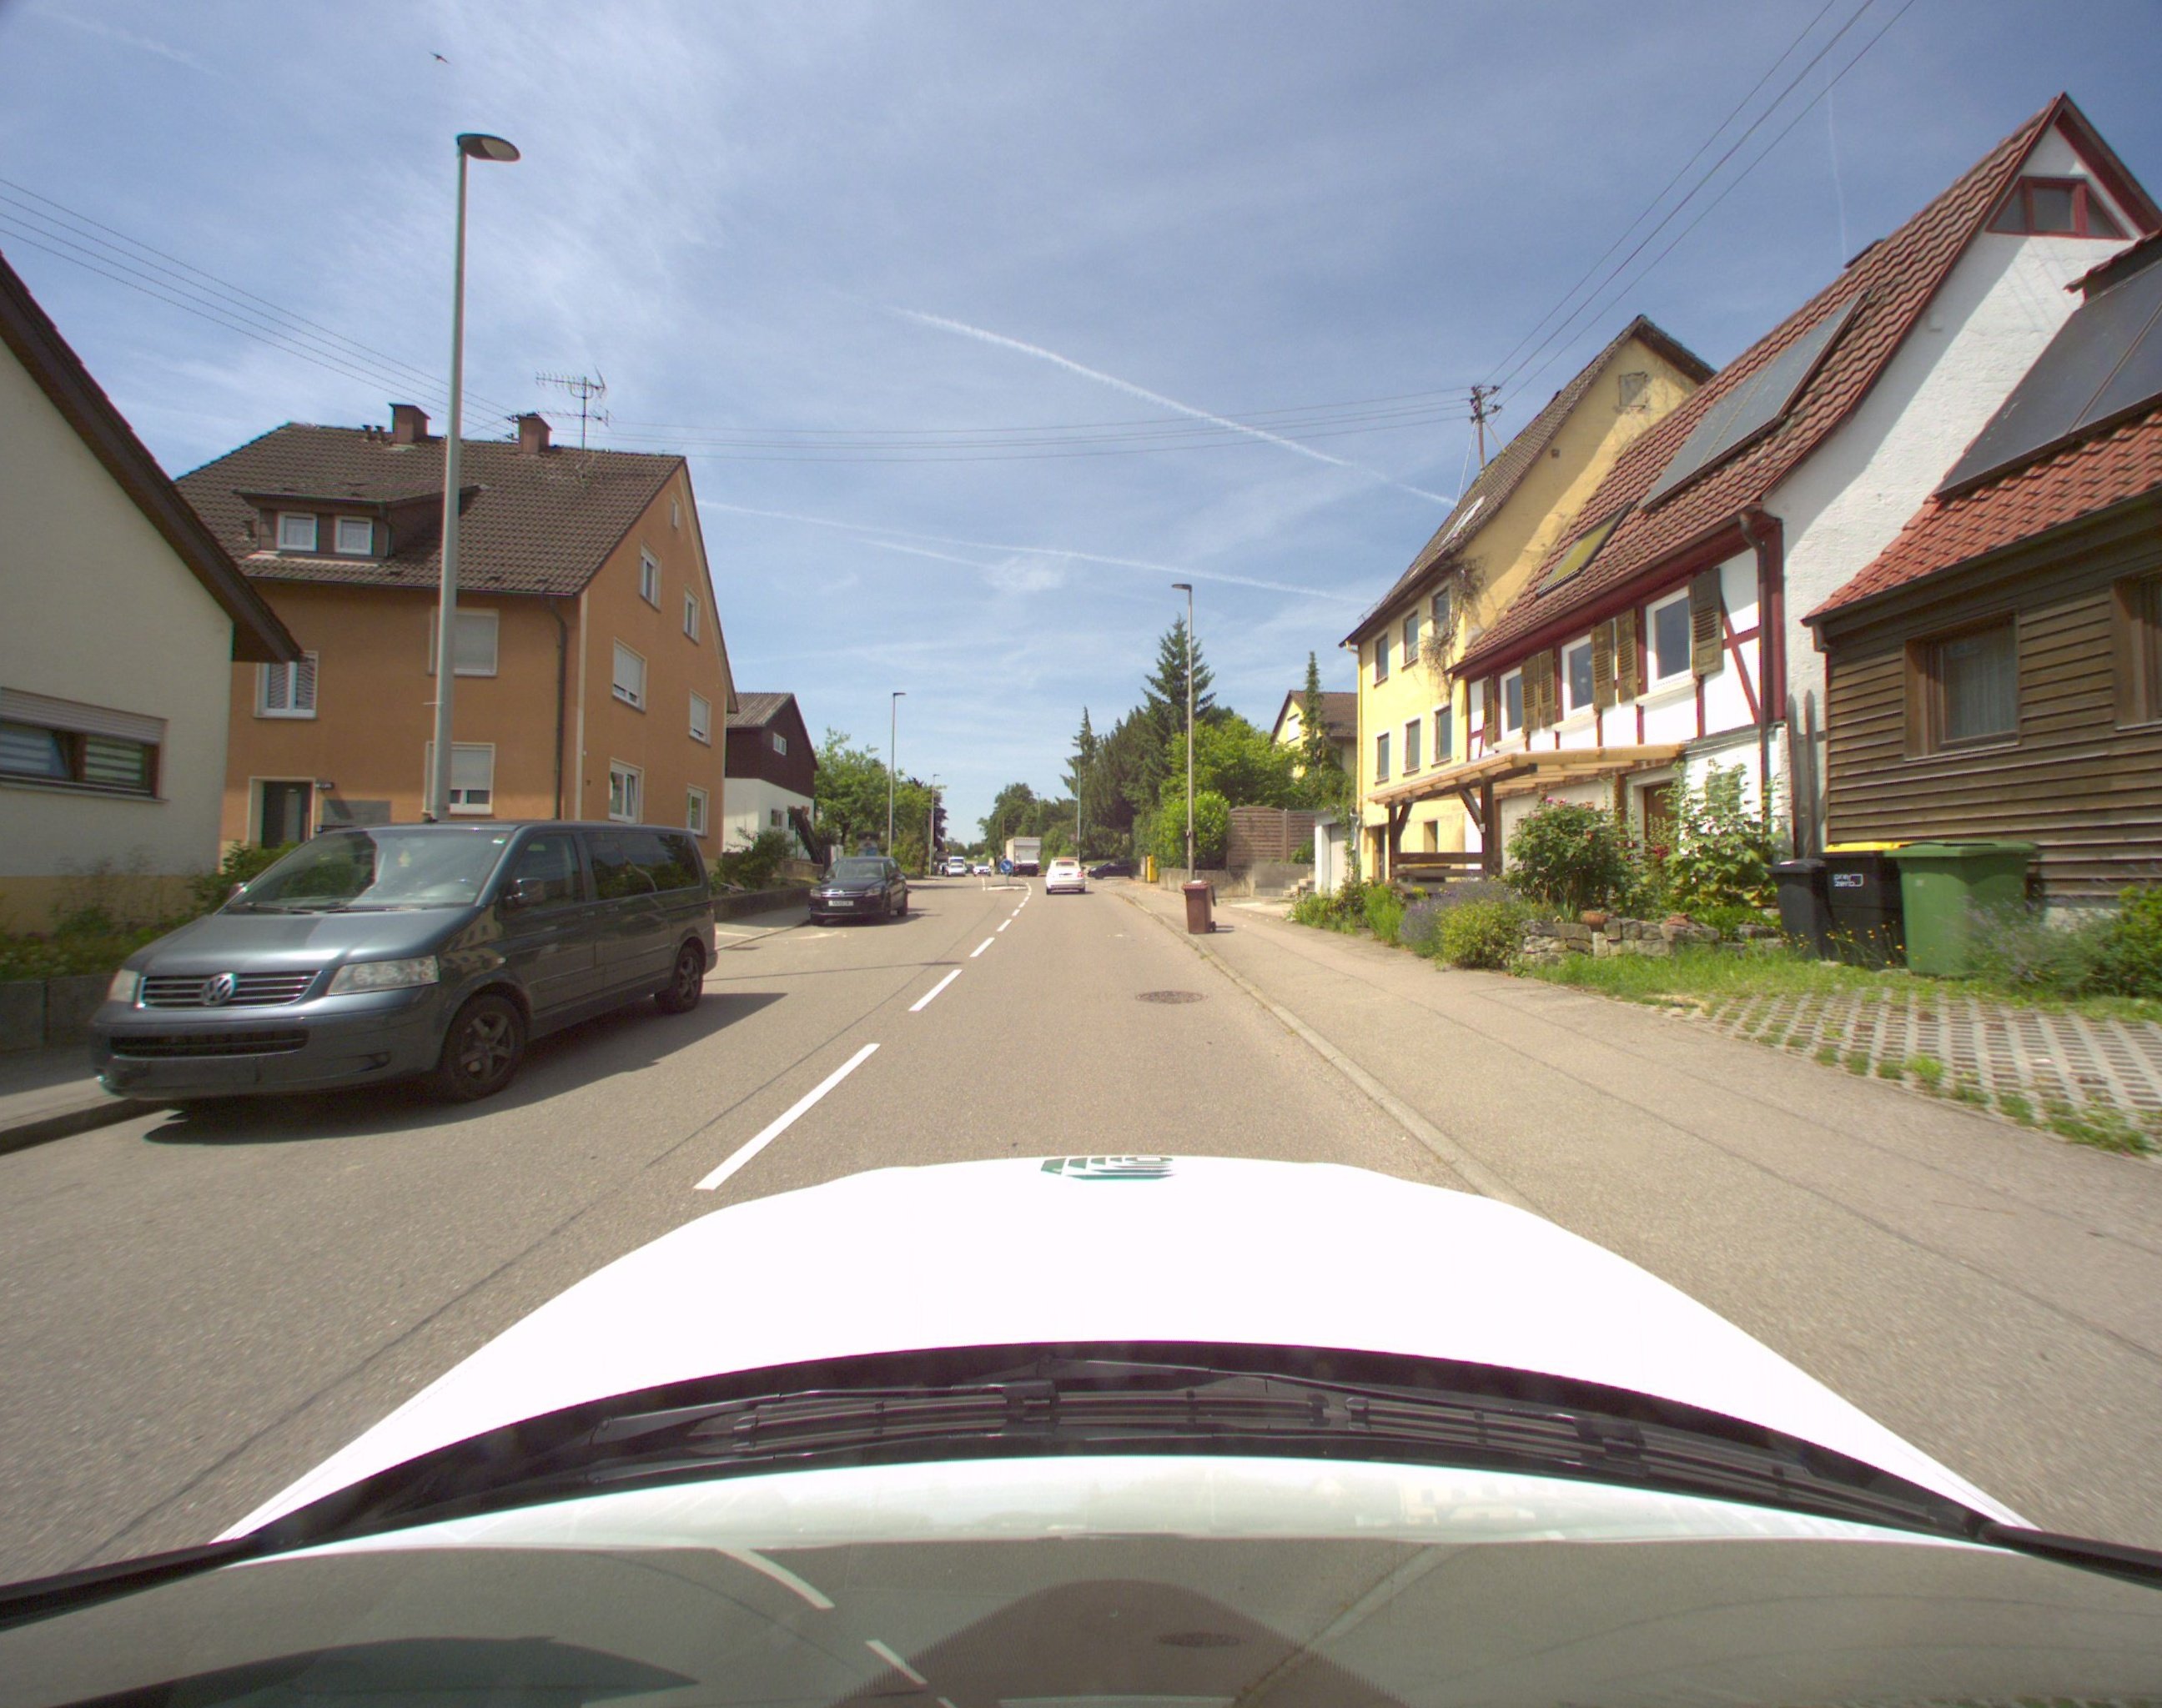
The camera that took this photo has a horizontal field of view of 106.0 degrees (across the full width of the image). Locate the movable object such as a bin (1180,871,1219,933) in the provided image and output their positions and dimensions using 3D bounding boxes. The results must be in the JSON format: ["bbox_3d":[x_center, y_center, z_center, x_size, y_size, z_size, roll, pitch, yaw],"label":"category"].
[{"bbox_3d":[2.122,0.857,14.522,0.490,1.033,0.551,-5,-1,22],"label":"movable object such as a bin"}]

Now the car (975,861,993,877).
[{"bbox_3d":[-10.367,1.611,87.207,1.781,1.529,4.160,-2,-1,-7],"label":"car"}]

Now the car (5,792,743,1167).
[{"bbox_3d":[-4.820,0.683,6.864,1.885,1.937,4.983,-2,0,-1],"label":"car"}]

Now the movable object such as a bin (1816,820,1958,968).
[{"bbox_3d":[6.885,0.328,6.979,0.533,1.157,0.548,-7,0,-4],"label":"movable object such as a bin"}]

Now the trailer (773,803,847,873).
[{"bbox_3d":[-12.054,-0.638,36.601,1.709,2.848,6.163,0,0,-5],"label":"trailer"}]

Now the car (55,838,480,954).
[{"bbox_3d":[-11.946,0.596,12.265,4.223,1.405,1.817,3,0,-7],"label":"car"}]

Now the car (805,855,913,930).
[{"bbox_3d":[-5.492,0.879,20.663,1.765,1.636,4.281,-2,0,-4],"label":"car"}]

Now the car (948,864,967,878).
[{"bbox_3d":[-13.123,1.744,86.081,1.805,1.398,3.984,-1,-1,-11],"label":"car"}]

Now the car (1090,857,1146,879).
[{"bbox_3d":[2.666,1.004,59.167,3.928,1.458,1.655,-1,-1,-6],"label":"car"}]

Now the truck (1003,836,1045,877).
[{"bbox_3d":[-5.607,0.315,79.246,3.070,3.774,7.837,-1,-1,-11],"label":"truck"}]

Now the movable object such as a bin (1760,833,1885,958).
[{"bbox_3d":[6.877,0.376,7.575,0.533,1.057,0.548,-7,0,-4],"label":"movable object such as a bin"}]

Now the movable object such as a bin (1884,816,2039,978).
[{"bbox_3d":[6.900,0.325,6.405,0.533,1.157,0.510,-7,0,-3],"label":"movable object such as a bin"}]

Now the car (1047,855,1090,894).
[{"bbox_3d":[-0.584,0.848,35.055,1.721,1.560,3.996,0,-1,-3],"label":"car"}]

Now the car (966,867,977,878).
[{"bbox_3d":[-15.741,2.720,117.303,1.480,1.510,2.792,-2,-1,-9],"label":"car"}]

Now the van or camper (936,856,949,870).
[{"bbox_3d":[-29.122,1.914,171.286,2.263,2.962,5.873,1,-1,-7],"label":"van or camper"}]
